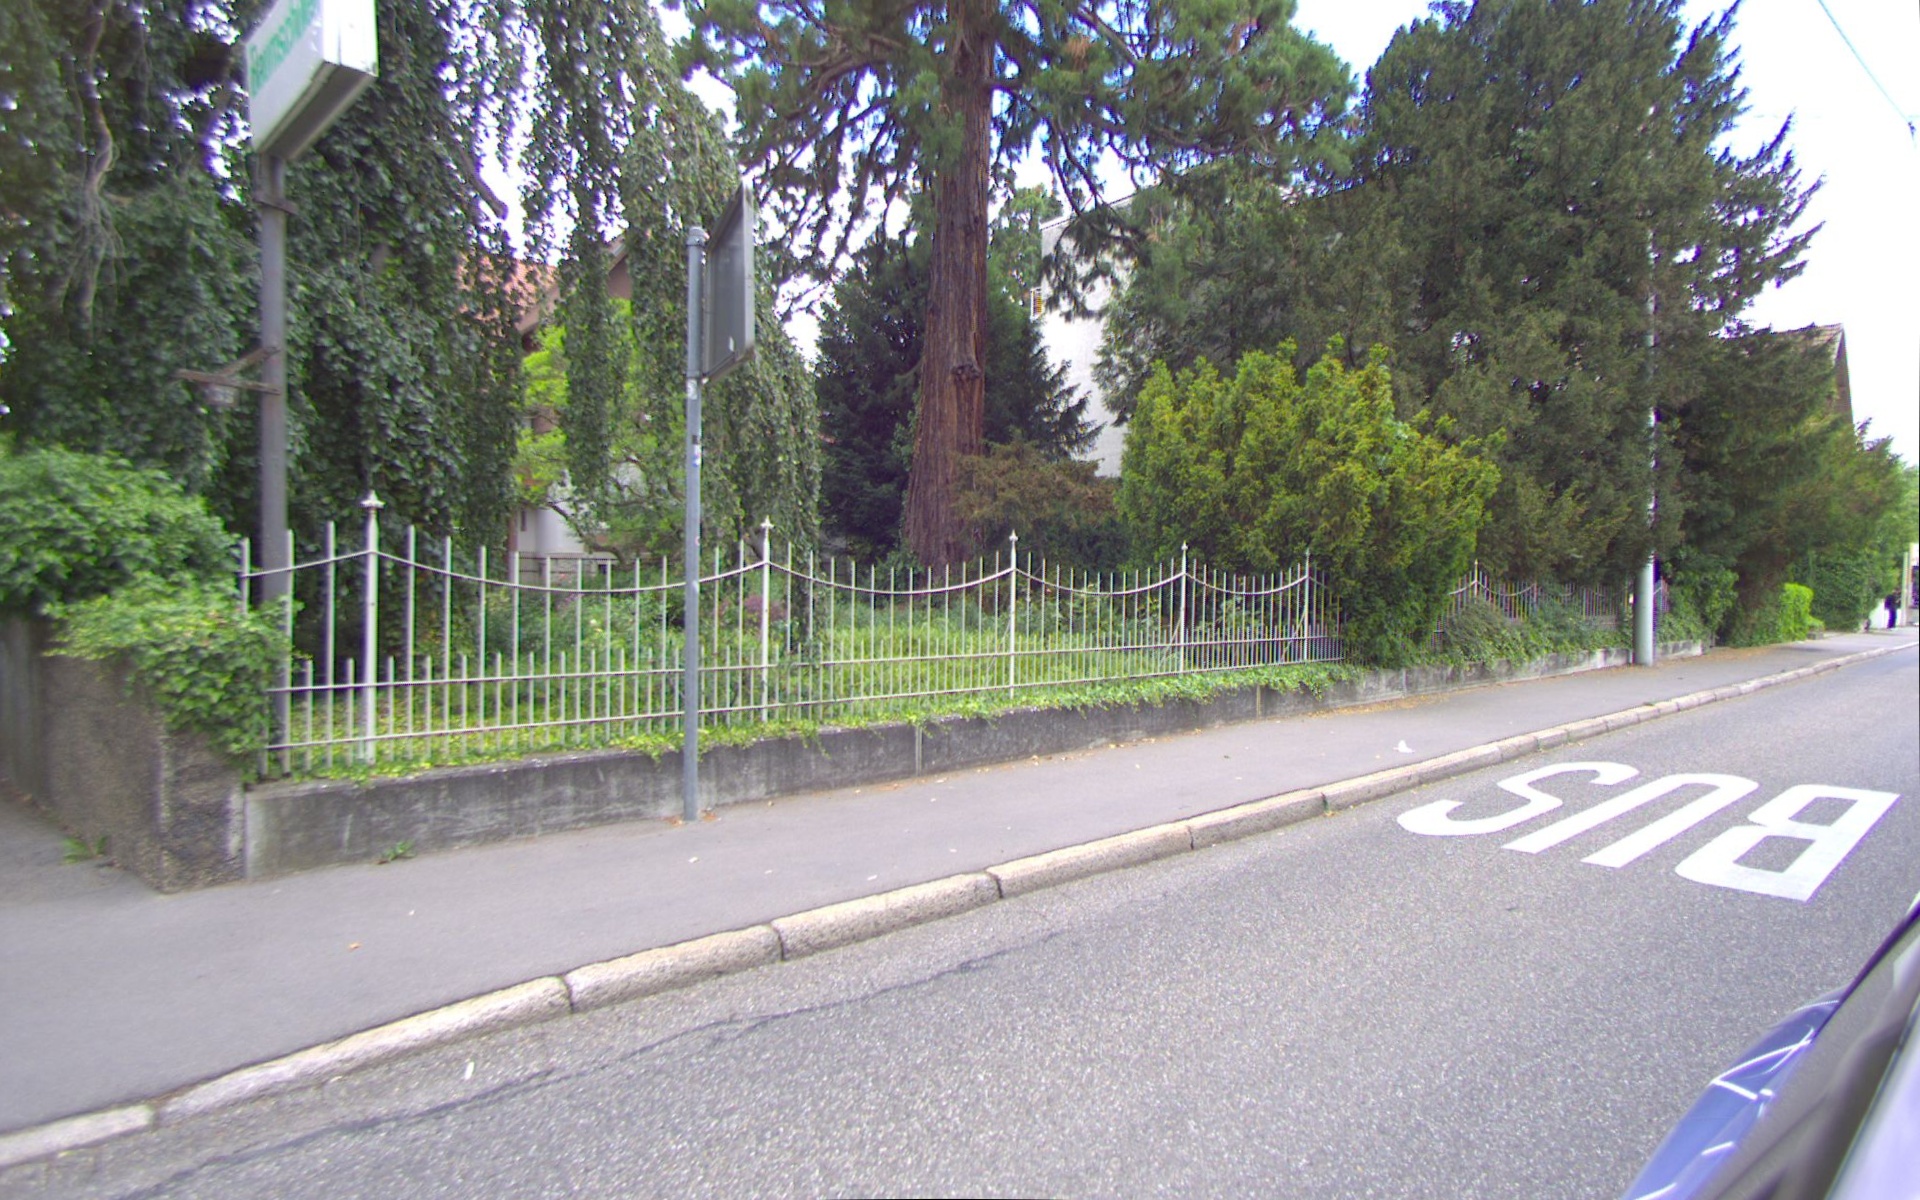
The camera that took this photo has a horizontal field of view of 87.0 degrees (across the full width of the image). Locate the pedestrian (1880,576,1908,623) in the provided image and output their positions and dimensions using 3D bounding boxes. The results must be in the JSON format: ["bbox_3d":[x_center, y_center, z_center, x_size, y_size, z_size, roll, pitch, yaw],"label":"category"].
[{"bbox_3d":[35.953,-0.013,38.970,0.657,1.789,0.491,0,0,-9],"label":"pedestrian"}]

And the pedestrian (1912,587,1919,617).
[{"bbox_3d":[41.597,0.101,43.486,0.914,1.266,0.777,6,5,44],"label":"pedestrian"}]
